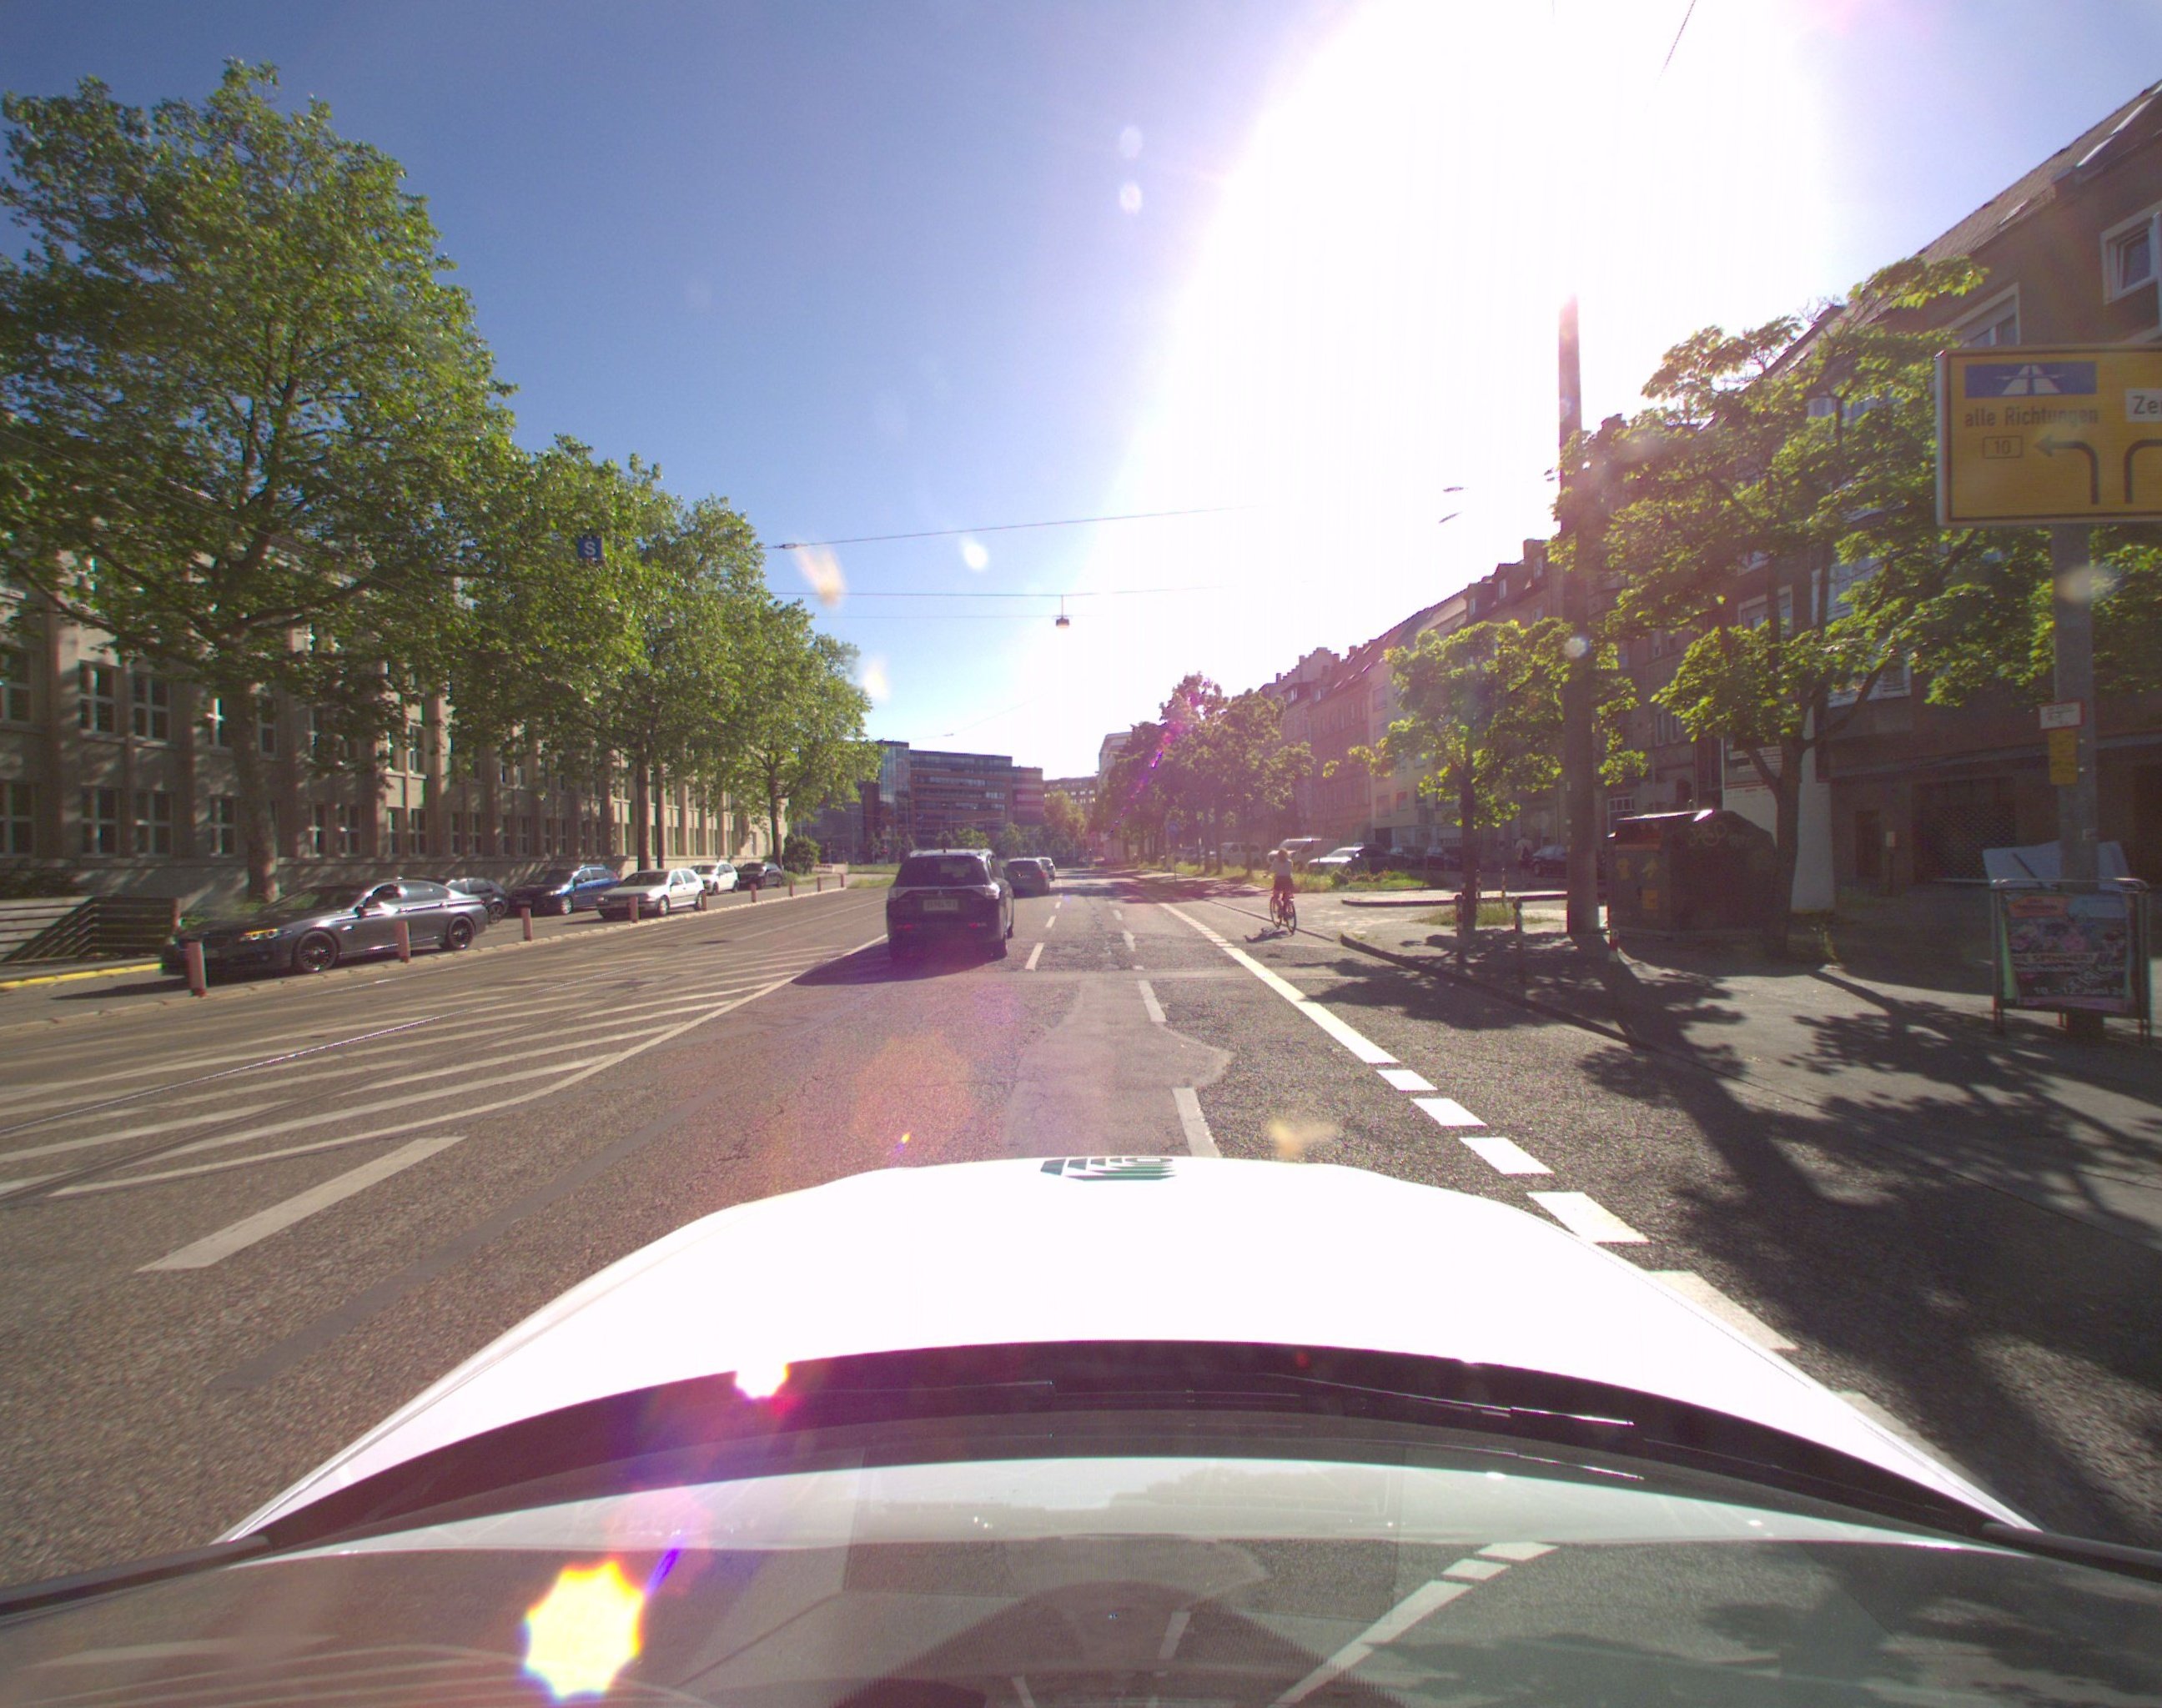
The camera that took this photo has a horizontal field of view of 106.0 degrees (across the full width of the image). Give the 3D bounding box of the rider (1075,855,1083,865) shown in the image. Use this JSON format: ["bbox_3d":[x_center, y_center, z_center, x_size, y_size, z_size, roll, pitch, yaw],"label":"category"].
[{"bbox_3d":[-0.266,0.706,97.590,0.498,1.176,1.683,-2,1,15],"label":"rider"}]

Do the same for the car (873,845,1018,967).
[{"bbox_3d":[-2.081,0.749,13.761,1.832,1.682,4.638,-1,0,-3],"label":"car"}]

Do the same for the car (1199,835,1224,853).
[{"bbox_3d":[18.063,-1.378,112.811,2.342,2.357,5.185,-3,1,-1],"label":"car"}]

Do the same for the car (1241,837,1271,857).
[{"bbox_3d":[18.897,-0.730,87.958,1.988,1.977,4.721,-3,1,-2],"label":"car"}]

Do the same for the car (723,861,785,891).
[{"bbox_3d":[-18.532,1.205,46.347,1.824,1.492,4.180,-2,0,-1],"label":"car"}]

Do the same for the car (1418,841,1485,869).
[{"bbox_3d":[20.949,0.040,46.193,1.723,1.420,4.290,-3,1,-2],"label":"car"}]

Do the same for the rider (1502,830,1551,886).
[{"bbox_3d":[14.958,0.140,27.344,0.962,1.820,1.034,-2,0,-20],"label":"rider"}]

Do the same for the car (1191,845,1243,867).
[{"bbox_3d":[11.108,0.153,66.547,4.048,1.478,1.793,-4,0,-36],"label":"car"}]

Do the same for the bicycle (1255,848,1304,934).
[{"bbox_3d":[4.011,0.698,16.588,0.436,1.638,1.938,-2,0,-1],"label":"bicycle"}]

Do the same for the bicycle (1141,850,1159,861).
[{"bbox_3d":[7.724,0.167,91.268,1.940,1.180,0.899,-3,0,-3],"label":"bicycle"}]

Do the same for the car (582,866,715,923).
[{"bbox_3d":[-13.092,1.169,24.973,1.824,1.453,4.169,-3,0,-1],"label":"car"}]

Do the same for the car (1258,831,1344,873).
[{"bbox_3d":[12.421,-0.142,45.849,4.903,2.075,1.998,-4,1,-37],"label":"car"}]

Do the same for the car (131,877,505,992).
[{"bbox_3d":[-12.994,1.250,14.471,1.823,1.453,4.963,-3,0,2],"label":"car"}]

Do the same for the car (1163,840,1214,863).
[{"bbox_3d":[10.859,-0.278,82.189,4.903,2.013,2.077,-4,0,-36],"label":"car"}]

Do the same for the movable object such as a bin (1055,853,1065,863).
[{"bbox_3d":[-3.063,0.611,117.124,1.060,1.398,1.310,-2,0,18],"label":"movable object such as a bin"}]

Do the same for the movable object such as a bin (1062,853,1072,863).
[{"bbox_3d":[-1.997,0.540,116.879,1.098,1.398,1.327,-2,0,18],"label":"movable object such as a bin"}]

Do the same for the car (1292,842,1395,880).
[{"bbox_3d":[12.411,0.322,38.370,4.902,1.435,1.999,-4,1,-35],"label":"car"}]

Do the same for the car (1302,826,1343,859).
[{"bbox_3d":[20.288,-0.980,68.695,1.987,2.585,4.512,-3,1,-1],"label":"car"}]

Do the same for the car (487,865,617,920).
[{"bbox_3d":[-18.200,1.247,28.293,1.826,1.639,4.389,-2,0,-4],"label":"car"}]

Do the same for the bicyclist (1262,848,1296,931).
[{"bbox_3d":[4.017,0.708,16.579,0.436,1.639,0.779,-2,0,-1],"label":"bicyclist"}]

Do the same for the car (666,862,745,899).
[{"bbox_3d":[-18.383,1.240,40.061,1.824,1.587,4.394,-3,0,-1],"label":"car"}]

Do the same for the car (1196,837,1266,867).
[{"bbox_3d":[11.766,-0.160,63.730,5.206,2.013,2.079,-4,0,-32],"label":"car"}]

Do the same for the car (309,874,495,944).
[{"bbox_3d":[-18.127,1.391,22.039,1.669,1.547,4.183,-2,0,-4],"label":"car"}]

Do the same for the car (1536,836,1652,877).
[{"bbox_3d":[21.023,0.082,33.636,1.986,1.474,4.491,-2,0,1],"label":"car"}]

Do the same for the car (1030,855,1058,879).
[{"bbox_3d":[-2.339,0.845,50.370,1.629,1.423,3.776,1,-2,-4],"label":"car"}]

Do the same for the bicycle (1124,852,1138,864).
[{"bbox_3d":[5.636,0.429,91.248,0.760,1.290,1.608,-3,1,38],"label":"bicycle"}]

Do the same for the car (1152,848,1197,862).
[{"bbox_3d":[10.134,0.081,88.306,4.773,1.380,2.023,-2,0,-36],"label":"car"}]

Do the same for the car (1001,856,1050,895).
[{"bbox_3d":[-2.106,0.848,31.661,1.730,1.423,4.462,1,-2,-3],"label":"car"}]

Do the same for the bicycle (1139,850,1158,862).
[{"bbox_3d":[7.664,0.237,92.261,1.953,1.192,0.841,-3,0,-3],"label":"bicycle"}]

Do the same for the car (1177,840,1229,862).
[{"bbox_3d":[11.392,-0.262,75.996,4.529,1.727,1.980,-4,0,-32],"label":"car"}]

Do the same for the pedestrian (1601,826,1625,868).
[{"bbox_3d":[22.654,-0.304,34.693,0.568,1.758,0.615,-2,0,1],"label":"pedestrian"}]

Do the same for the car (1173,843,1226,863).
[{"bbox_3d":[11.584,-0.111,79.585,4.898,1.648,2.079,-4,0,-32],"label":"car"}]

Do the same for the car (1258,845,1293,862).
[{"bbox_3d":[19.395,-0.092,81.327,1.991,1.529,4.504,-3,1,-6],"label":"car"}]

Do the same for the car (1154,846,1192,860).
[{"bbox_3d":[11.508,-0.144,101.267,4.488,1.565,1.918,-2,0,-34],"label":"car"}]
